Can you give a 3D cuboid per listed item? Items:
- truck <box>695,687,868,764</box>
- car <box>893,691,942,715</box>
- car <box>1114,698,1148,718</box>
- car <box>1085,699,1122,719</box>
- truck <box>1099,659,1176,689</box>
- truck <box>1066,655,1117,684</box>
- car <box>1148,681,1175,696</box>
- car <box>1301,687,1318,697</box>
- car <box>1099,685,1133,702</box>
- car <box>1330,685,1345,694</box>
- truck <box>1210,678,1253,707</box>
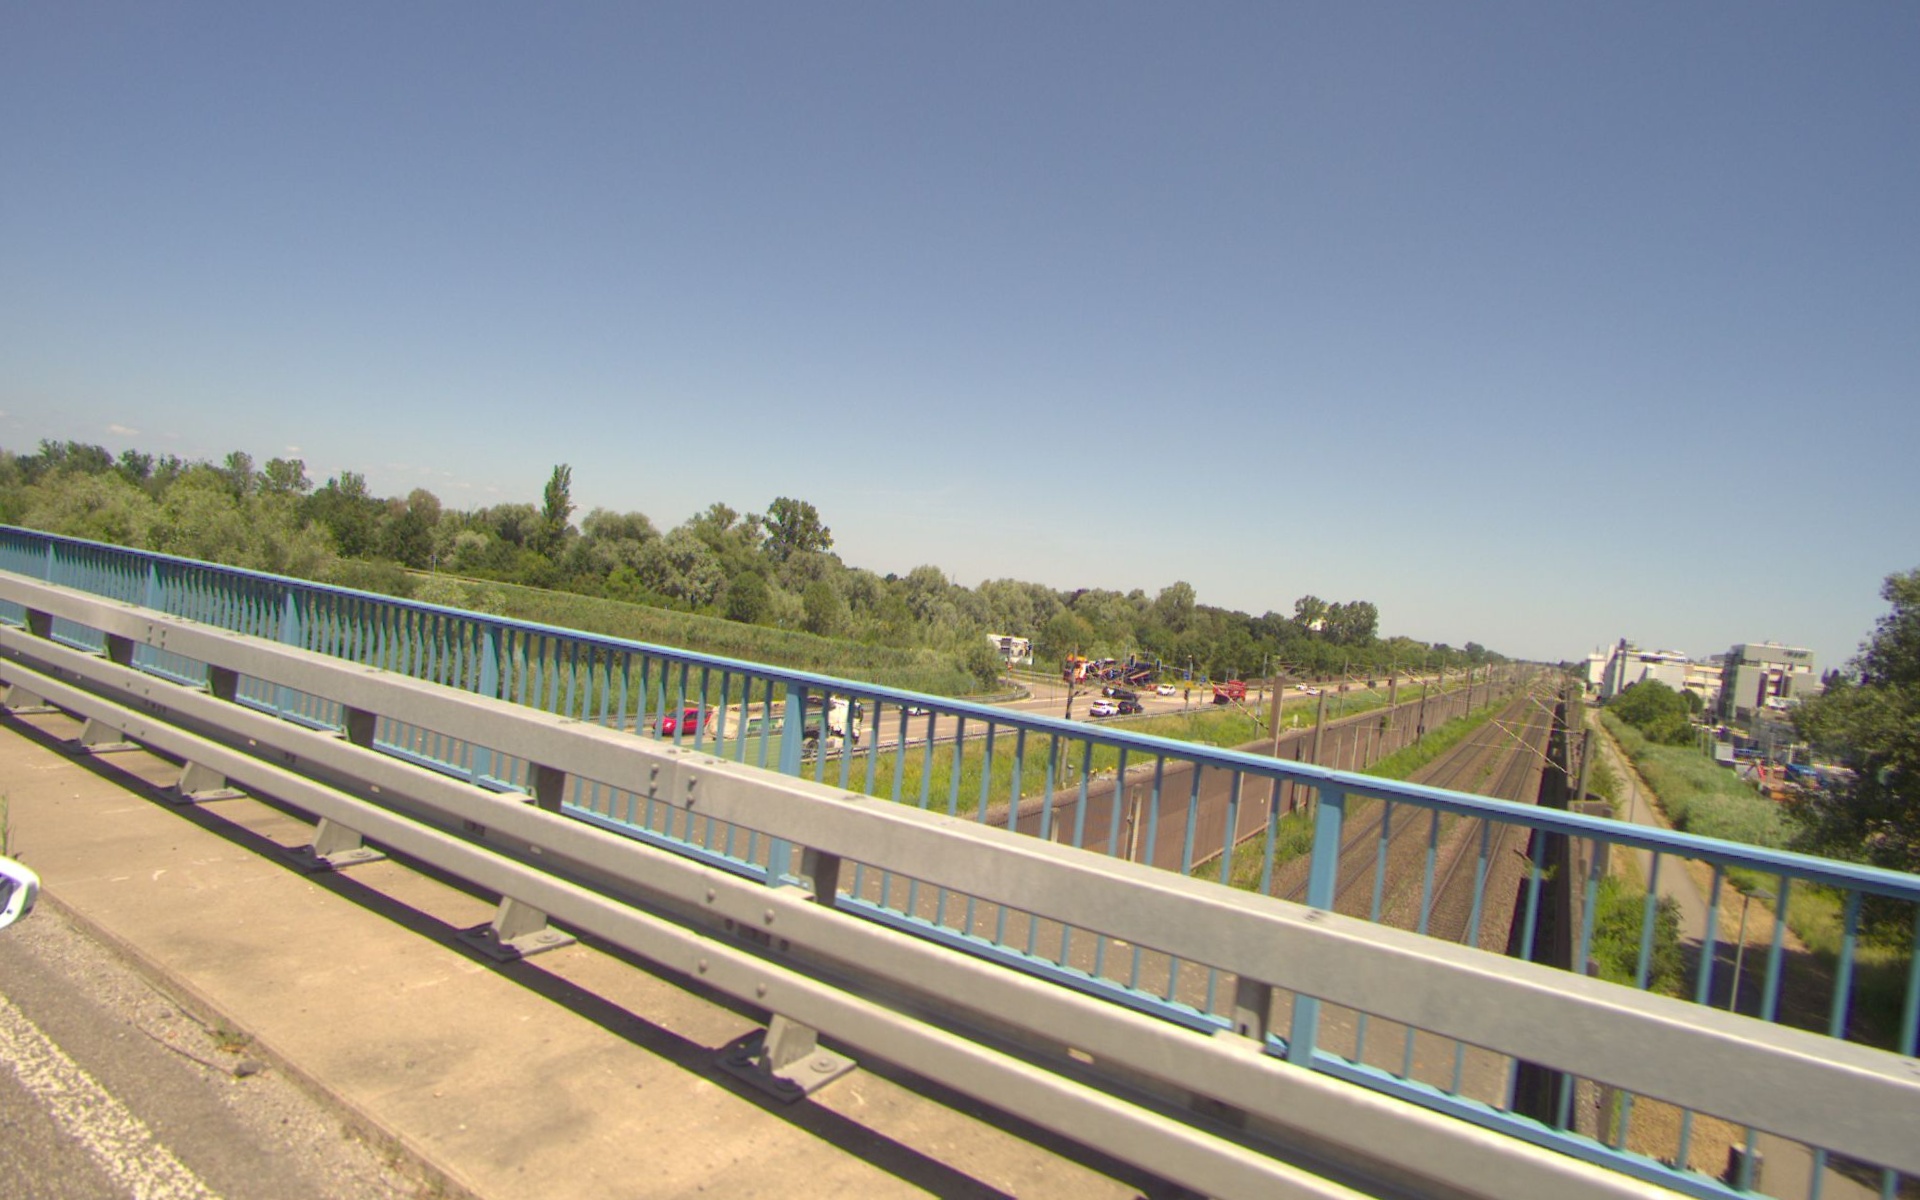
[{"bbox_3d":[-10.301,7.283,60.146,2.827,3.468,11.915,8,1,30],"label":"truck"},{"bbox_3d":[-3.638,8.801,86.575,1.967,1.638,4.234,9,1,32],"label":"car"},{"bbox_3d":[18.703,11.754,109.698,1.967,1.638,4.233,9,1,33],"label":"car"},{"bbox_3d":[14.837,11.200,103.881,1.967,1.638,4.233,9,1,33],"label":"car"},{"bbox_3d":[25.794,10.728,145.352,12.321,3.398,1.985,7,-1,-30],"label":"truck"},{"bbox_3d":[18.576,9.835,141.777,6.729,3.398,1.991,7,0,-21],"label":"truck"},{"bbox_3d":[28.233,12.393,140.824,1.968,1.638,4.231,9,1,34],"label":"car"},{"bbox_3d":[66.564,17.496,191.351,1.967,1.638,4.233,9,1,33],"label":"car"},{"bbox_3d":[19.592,11.779,126.503,4.218,1.638,1.974,7,1,-44],"label":"car"},{"bbox_3d":[82.748,19.513,220.354,1.967,1.638,4.233,9,1,33],"label":"car"},{"bbox_3d":[38.745,13.145,143.219,2.827,3.468,10.967,8,1,30],"label":"truck"}]
